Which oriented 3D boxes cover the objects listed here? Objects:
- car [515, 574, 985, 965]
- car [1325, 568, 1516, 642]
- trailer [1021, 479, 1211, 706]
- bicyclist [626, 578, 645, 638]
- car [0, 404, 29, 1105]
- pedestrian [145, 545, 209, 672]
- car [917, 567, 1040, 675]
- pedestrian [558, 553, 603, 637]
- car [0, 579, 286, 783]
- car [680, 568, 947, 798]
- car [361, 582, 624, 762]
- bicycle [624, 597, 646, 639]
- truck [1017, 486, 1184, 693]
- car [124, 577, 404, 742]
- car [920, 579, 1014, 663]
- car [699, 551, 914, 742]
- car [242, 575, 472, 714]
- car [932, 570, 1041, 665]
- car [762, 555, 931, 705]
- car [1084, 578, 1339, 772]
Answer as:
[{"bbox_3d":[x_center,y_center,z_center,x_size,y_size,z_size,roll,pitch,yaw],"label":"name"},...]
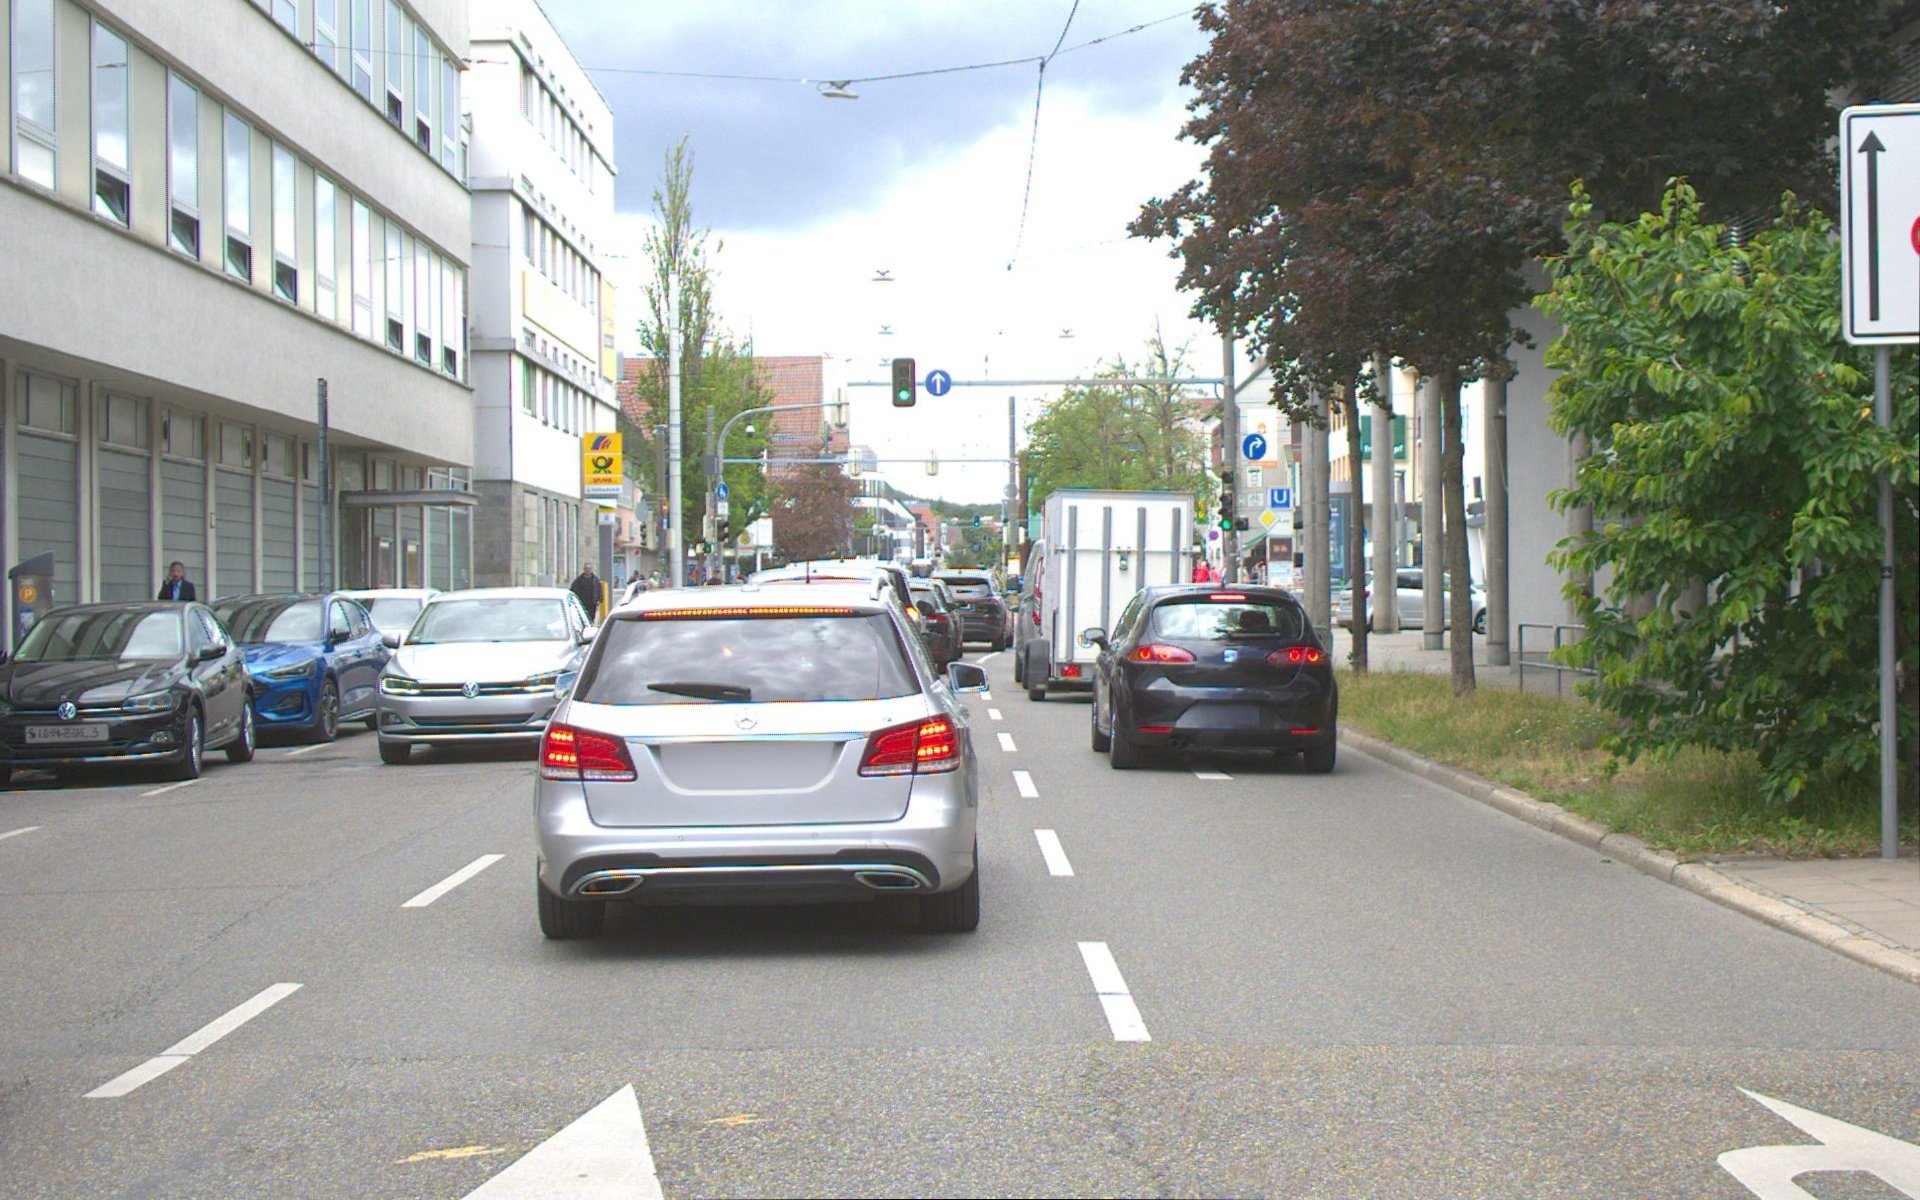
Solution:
[{"bbox_3d":[-0.840,0.642,15.152,1.803,1.487,3.738,0,1,-1],"label":"car"},{"bbox_3d":[10.712,0.110,80.086,3.986,1.645,1.845,1,0,-13],"label":"car"},{"bbox_3d":[1.846,-0.111,42.261,1.993,2.598,5.349,0,1,-1],"label":"trailer"},{"bbox_3d":[-9.182,0.235,97.345,0.445,1.691,0.555,1,0,-1],"label":"bicyclist"},{"bbox_3d":[-3.724,0.488,7.621,1.993,2.007,4.902,-2,1,-1],"label":"car"},{"bbox_3d":[-10.085,0.106,44.285,0.656,1.617,0.681,0,0,1],"label":"pedestrian"},{"bbox_3d":[0.252,0.294,53.127,1.803,1.596,3.738,1,1,-1],"label":"car"},{"bbox_3d":[-8.472,-0.106,76.768,0.918,1.862,0.783,0,0,-1],"label":"pedestrian"},{"bbox_3d":[-6.965,0.618,28.566,1.912,1.511,4.175,-2,1,-1],"label":"car"},{"bbox_3d":[-1.023,0.549,25.236,1.803,1.547,3.738,0,1,-1],"label":"car"},{"bbox_3d":[-4.031,0.579,30.256,1.769,1.408,4.175,-2,1,-1],"label":"car"},{"bbox_3d":[-9.191,0.495,97.280,0.445,1.163,1.921,1,0,-1],"label":"bicycle"},{"bbox_3d":[1.799,-0.148,45.070,1.993,2.598,3.260,0,0,-1],"label":"truck"},{"bbox_3d":[-6.851,0.542,34.264,1.993,1.511,4.175,0,1,-1],"label":"car"},{"bbox_3d":[0.114,0.405,68.980,1.803,1.596,3.738,1,1,-1],"label":"car"},{"bbox_3d":[-1.330,0.377,31.000,1.803,1.596,3.738,1,1,-1],"label":"car"},{"bbox_3d":[-6.938,0.472,39.968,1.993,1.511,4.175,0,1,-1],"label":"car"},{"bbox_3d":[0.436,0.279,60.315,1.803,1.596,3.738,1,1,-1],"label":"car"},{"bbox_3d":[-1.247,0.305,38.809,1.803,1.596,3.738,1,1,-1],"label":"car"},{"bbox_3d":[1.951,0.548,27.595,1.765,1.428,3.828,0,1,0],"label":"car"}]
